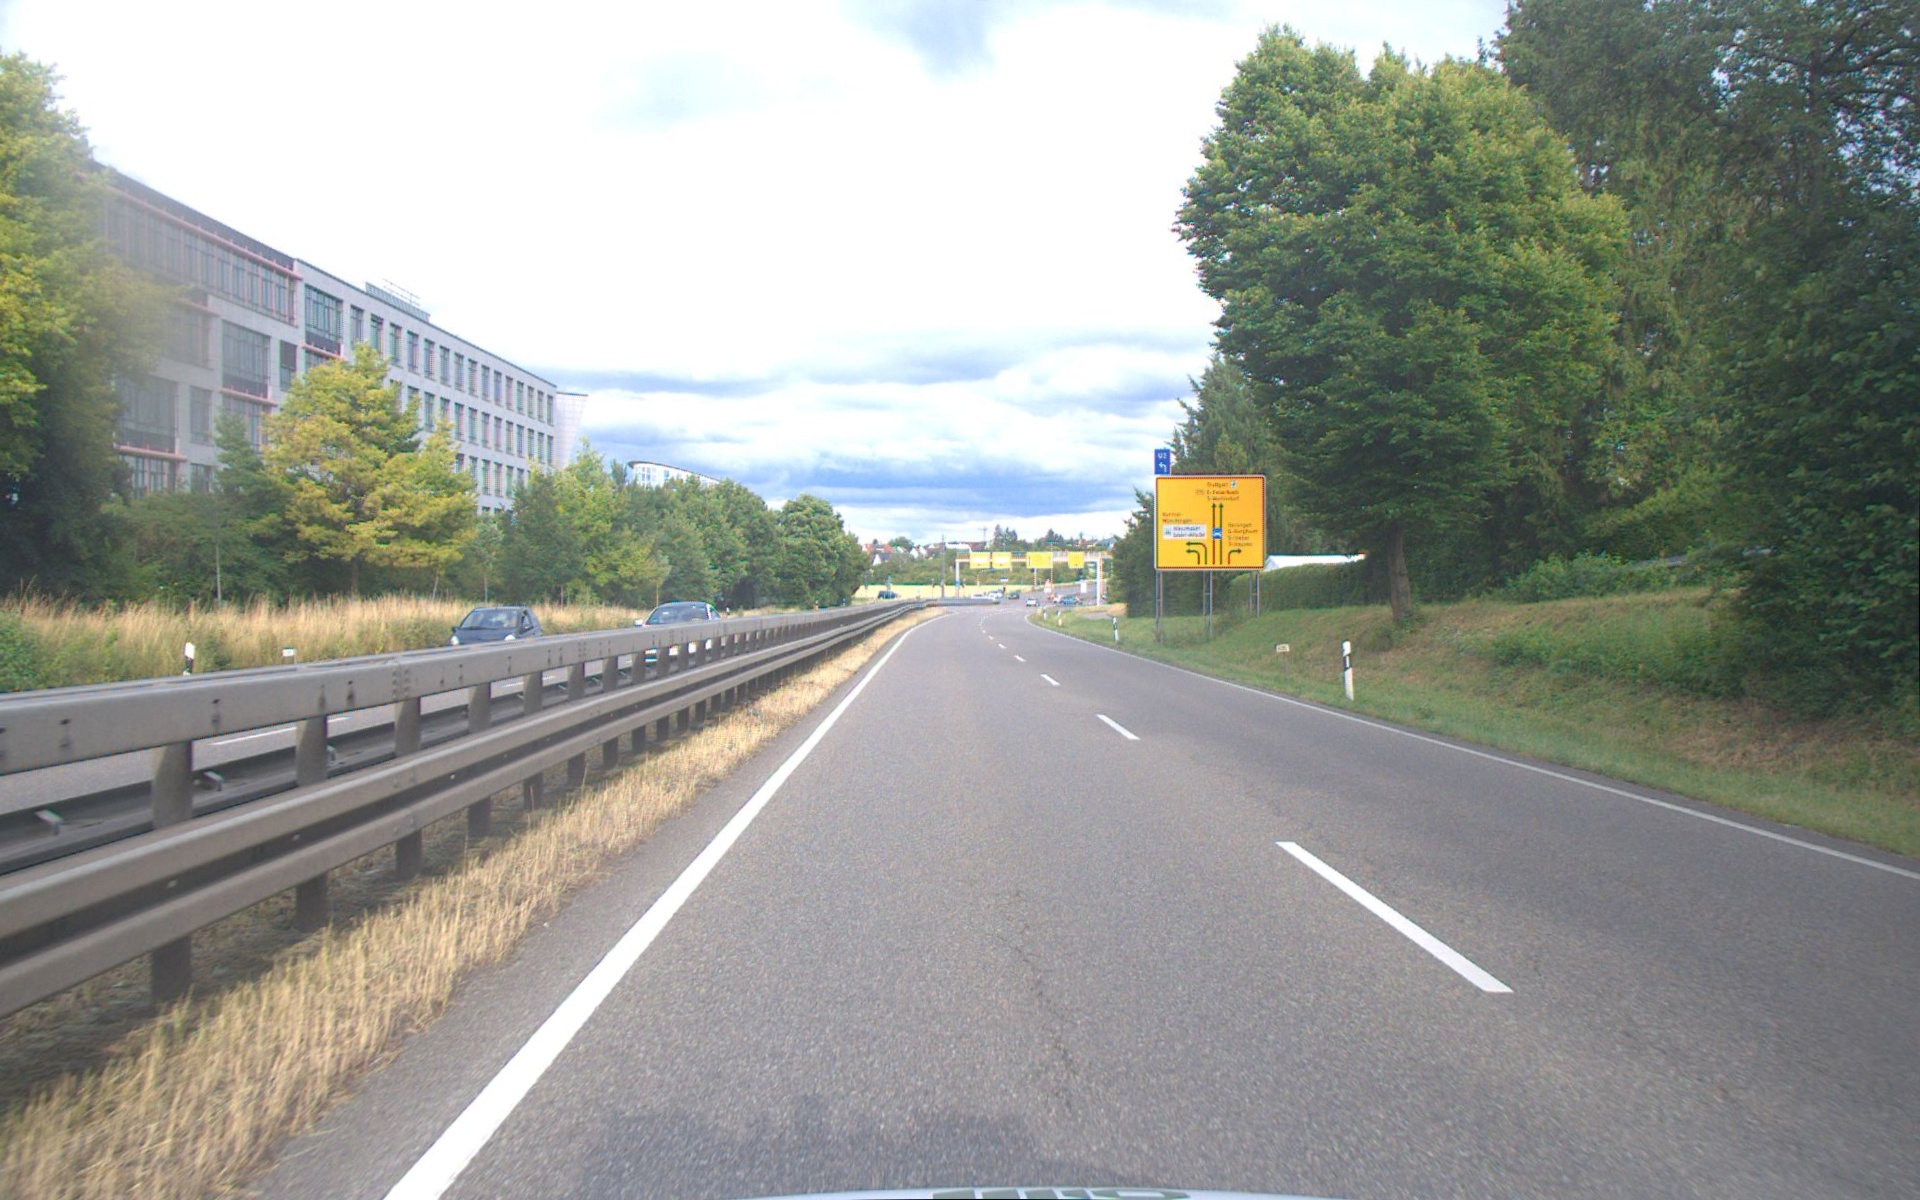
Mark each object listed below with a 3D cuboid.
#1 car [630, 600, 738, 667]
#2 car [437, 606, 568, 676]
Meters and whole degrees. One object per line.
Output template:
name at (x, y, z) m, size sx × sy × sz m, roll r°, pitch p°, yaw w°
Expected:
car at (-6.245, 0.716, 37.862) m, size 1.797 × 1.403 × 4.565 m, roll 0°, pitch 0°, yaw -1°
car at (-10.362, 0.884, 37.788) m, size 1.721 × 1.447 × 4.566 m, roll 0°, pitch 0°, yaw 0°
